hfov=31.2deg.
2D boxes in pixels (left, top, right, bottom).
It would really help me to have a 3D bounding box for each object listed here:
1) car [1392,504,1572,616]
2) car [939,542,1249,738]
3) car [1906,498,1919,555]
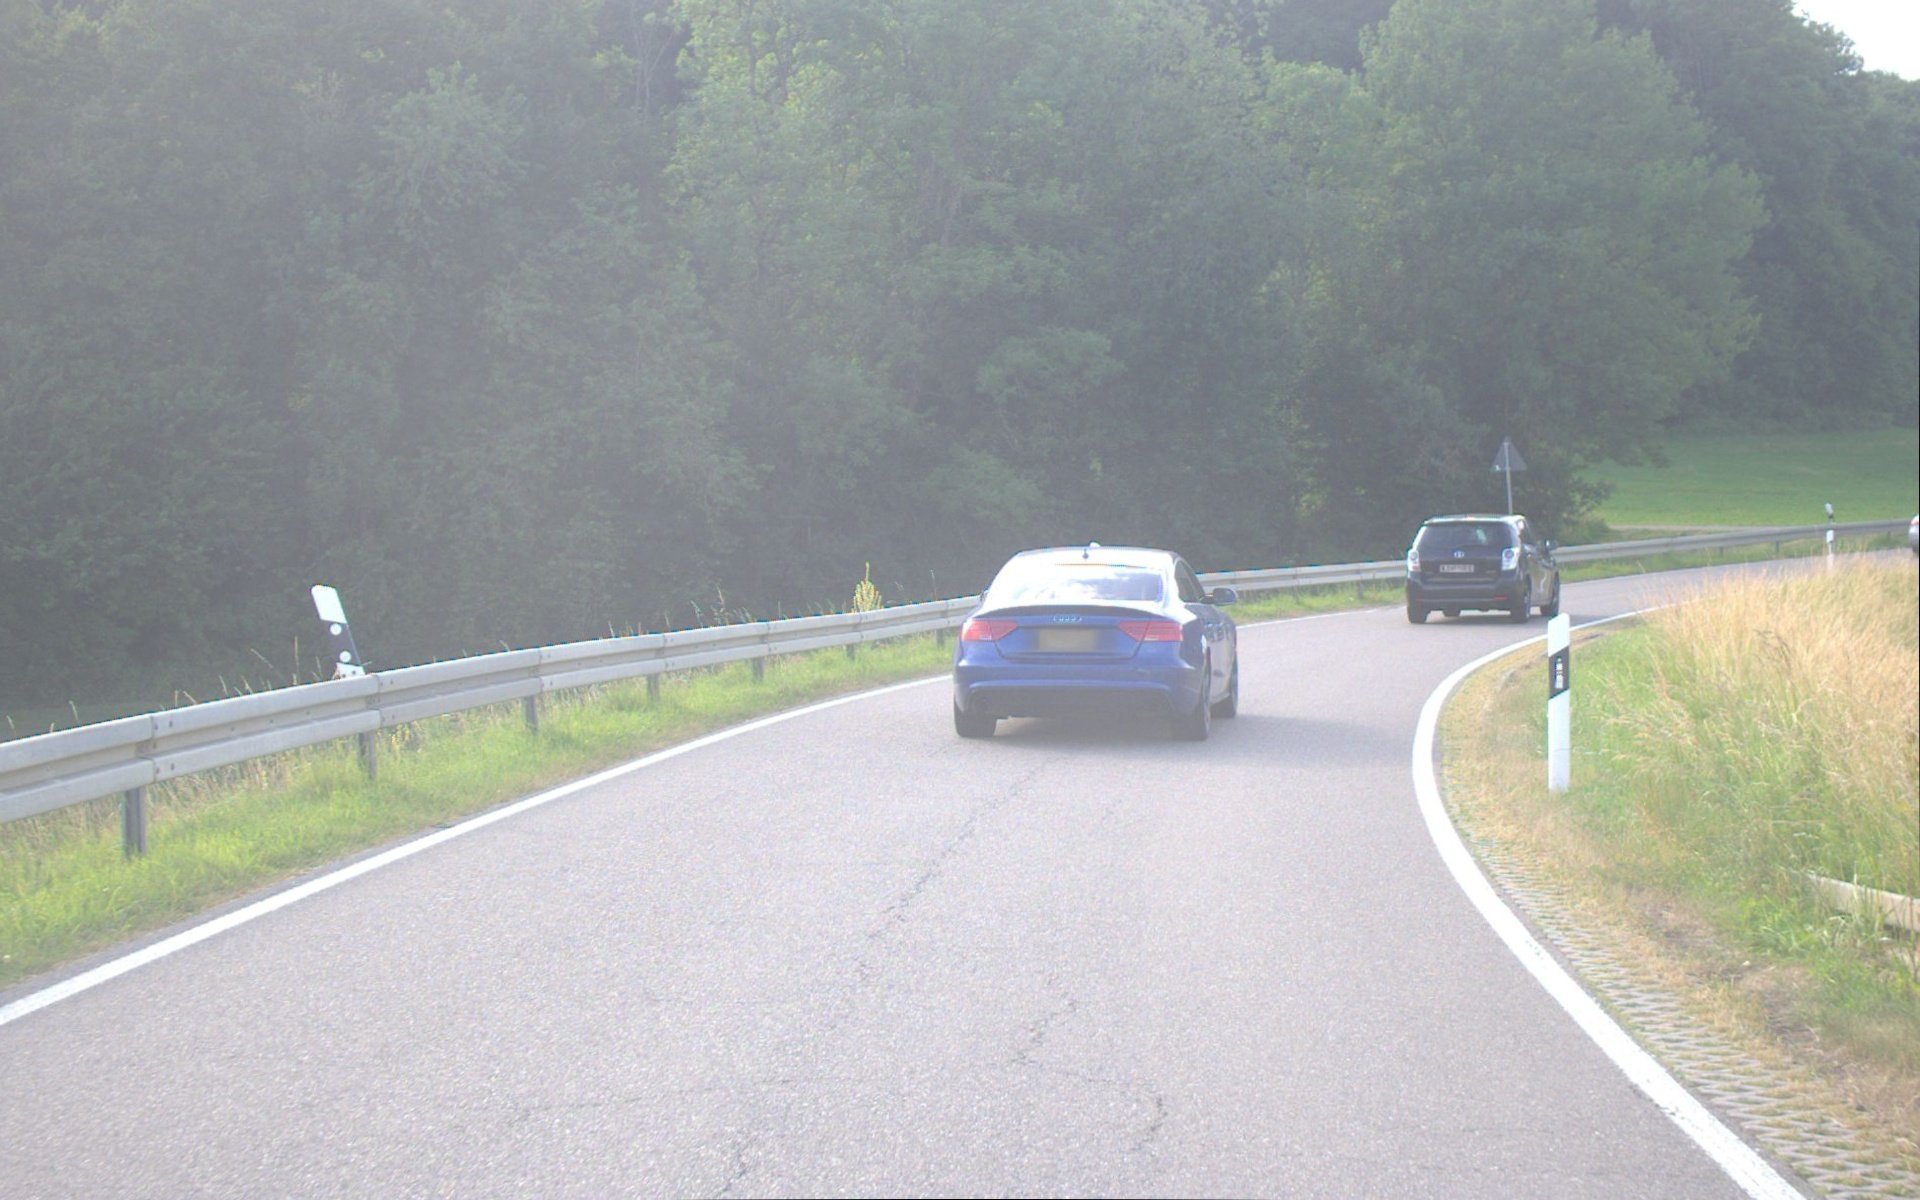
[{"bbox_3d":[7.927,-0.632,51.939,1.864,1.563,3.996,-1,2,21],"label":"car"},{"bbox_3d":[1.100,0.242,25.877,1.819,1.334,4.348,0,1,9],"label":"car"},{"bbox_3d":[24.935,-1.882,84.892,1.685,1.371,3.992,-2,1,36],"label":"car"}]
